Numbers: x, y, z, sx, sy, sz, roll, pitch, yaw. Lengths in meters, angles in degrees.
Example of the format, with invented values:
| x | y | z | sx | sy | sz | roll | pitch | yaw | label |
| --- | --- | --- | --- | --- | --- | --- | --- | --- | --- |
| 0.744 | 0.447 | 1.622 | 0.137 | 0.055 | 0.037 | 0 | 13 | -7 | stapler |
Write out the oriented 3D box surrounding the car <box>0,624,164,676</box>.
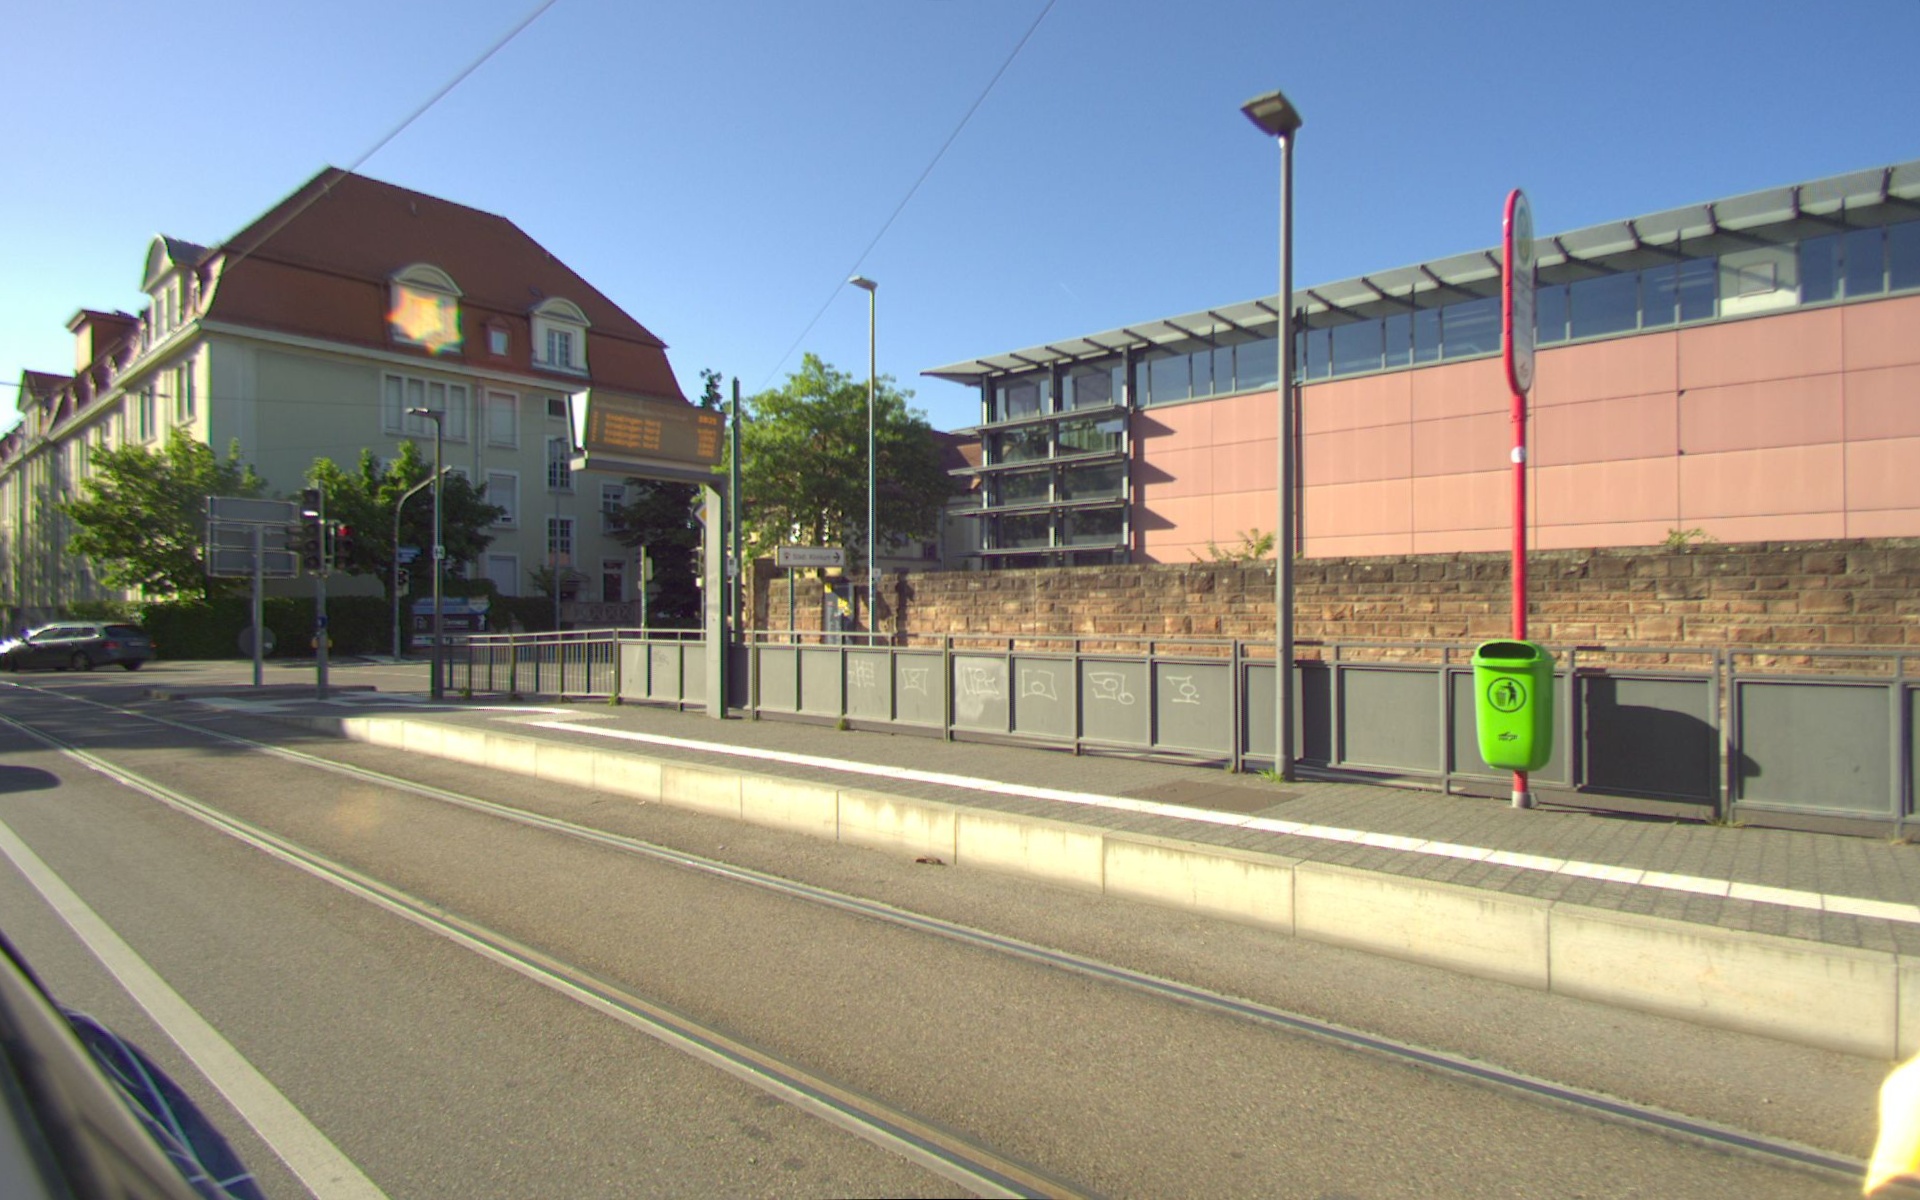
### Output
| x | y | z | sx | sy | sz | roll | pitch | yaw | label |
| --- | --- | --- | --- | --- | --- | --- | --- | --- | --- |
| -26.475 | 1.468 | 30.141 | 4.348 | 1.470 | 1.741 | -1 | -1 | 4 | car |
